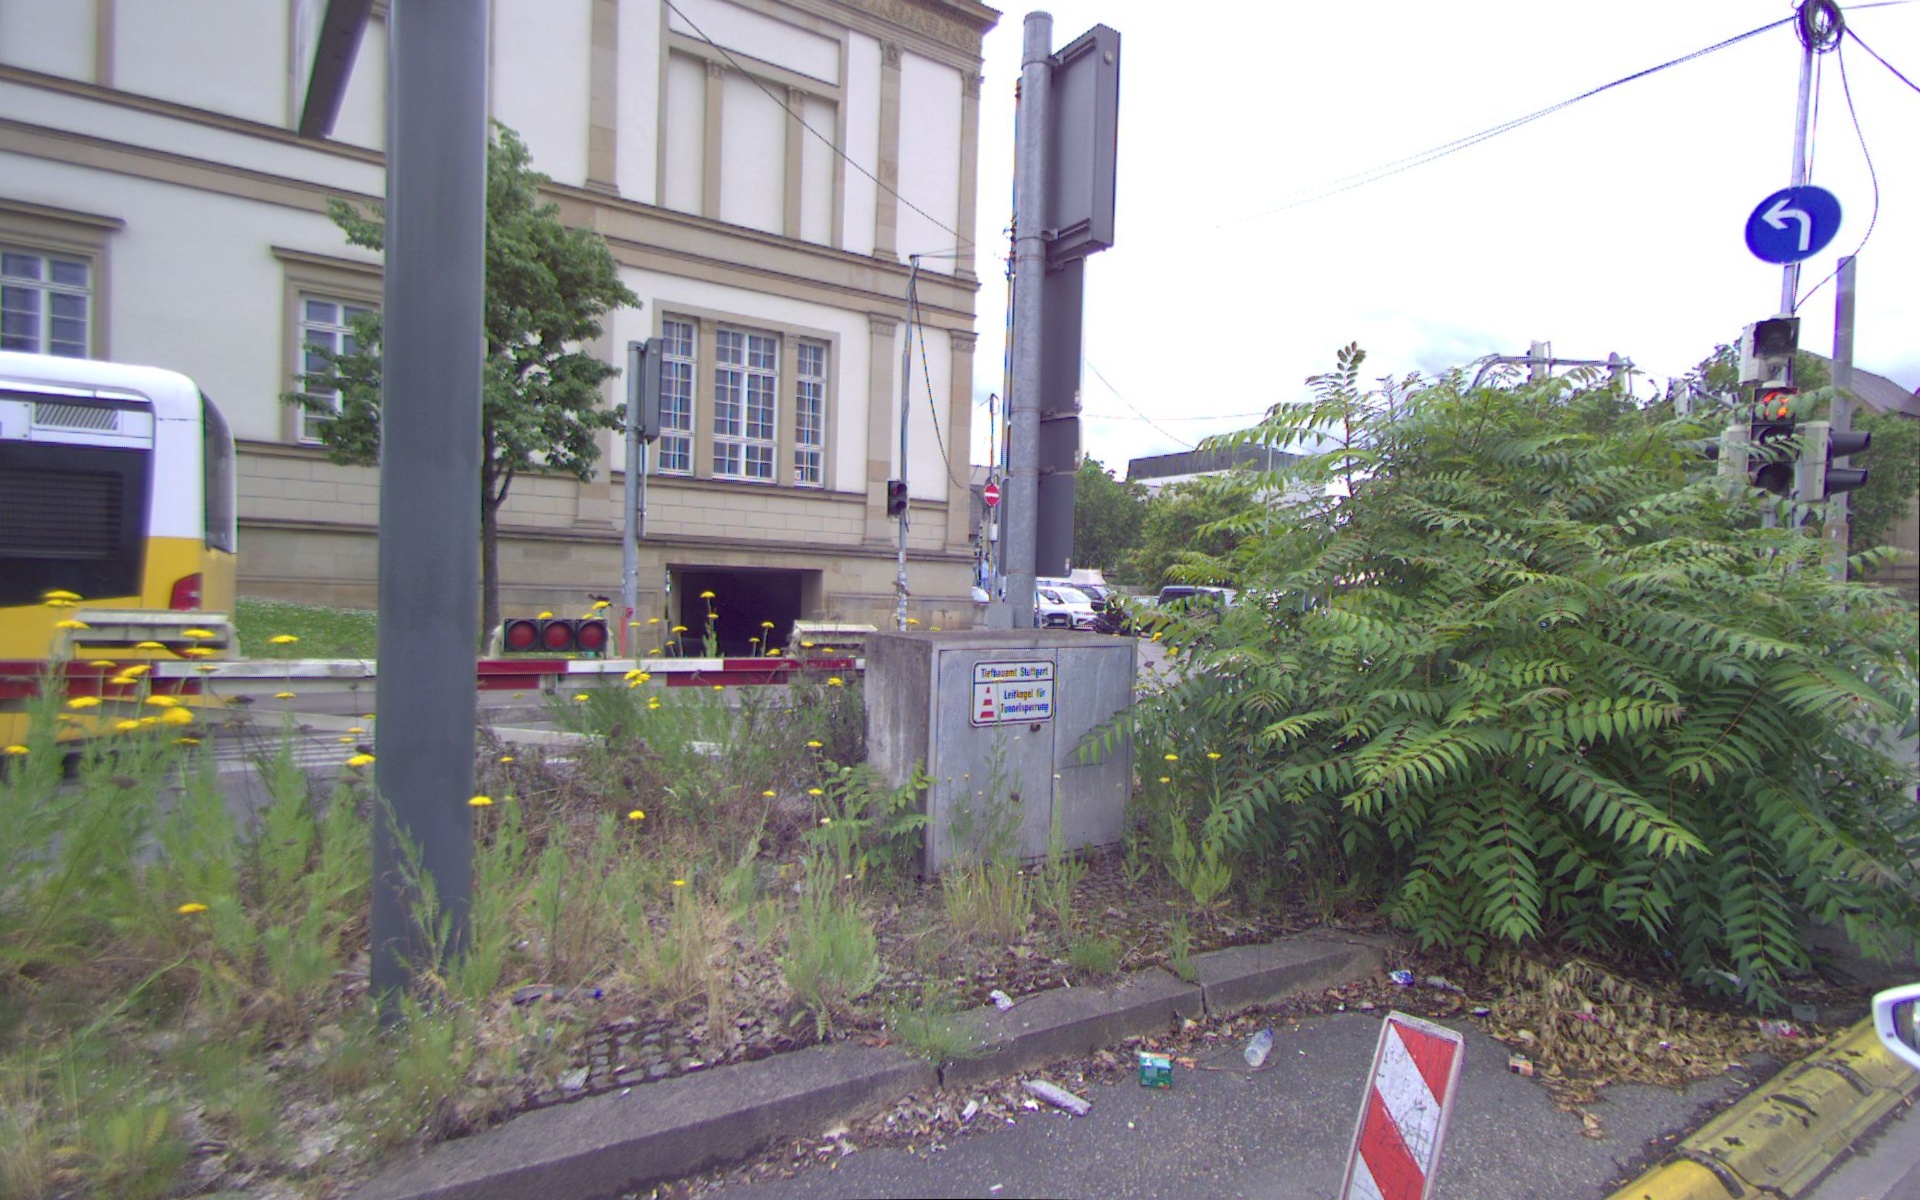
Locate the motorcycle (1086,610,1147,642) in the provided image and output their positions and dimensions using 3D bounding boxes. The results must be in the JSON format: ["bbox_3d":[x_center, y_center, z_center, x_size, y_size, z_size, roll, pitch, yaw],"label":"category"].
[{"bbox_3d":[5.071,0.835,32.650,0.749,0.937,2.042,1,1,-35],"label":"motorcycle"}]

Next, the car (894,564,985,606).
[{"bbox_3d":[-0.943,-0.669,43.682,1.979,1.698,4.285,1,1,-34],"label":"car"}]

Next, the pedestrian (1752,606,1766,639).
[{"bbox_3d":[49.760,1.379,62.578,0.516,2.040,0.428,2,1,17],"label":"pedestrian"}]

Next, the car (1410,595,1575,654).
[{"bbox_3d":[17.129,0.739,32.448,1.986,1.698,4.271,1,1,-43],"label":"car"}]

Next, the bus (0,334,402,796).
[{"bbox_3d":[-9.083,-0.303,6.984,9.017,3.156,2.831,1,1,-31],"label":"bus"}]

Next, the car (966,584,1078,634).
[{"bbox_3d":[2.245,0.305,37.585,1.979,1.698,4.285,1,1,-34],"label":"car"}]

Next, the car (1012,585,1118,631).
[{"bbox_3d":[4.211,0.298,40.960,1.979,1.698,4.285,1,1,-34],"label":"car"}]

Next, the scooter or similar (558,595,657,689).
[{"bbox_3d":[-4.941,0.586,14.130,1.132,1.190,0.540,6,0,-10],"label":"scooter or similar"}]

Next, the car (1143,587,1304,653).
[{"bbox_3d":[7.564,0.522,29.248,1.979,1.698,4.285,1,1,-34],"label":"car"}]

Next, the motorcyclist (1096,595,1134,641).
[{"bbox_3d":[5.034,0.585,32.700,0.738,1.442,0.959,1,1,-35],"label":"motorcyclist"}]
